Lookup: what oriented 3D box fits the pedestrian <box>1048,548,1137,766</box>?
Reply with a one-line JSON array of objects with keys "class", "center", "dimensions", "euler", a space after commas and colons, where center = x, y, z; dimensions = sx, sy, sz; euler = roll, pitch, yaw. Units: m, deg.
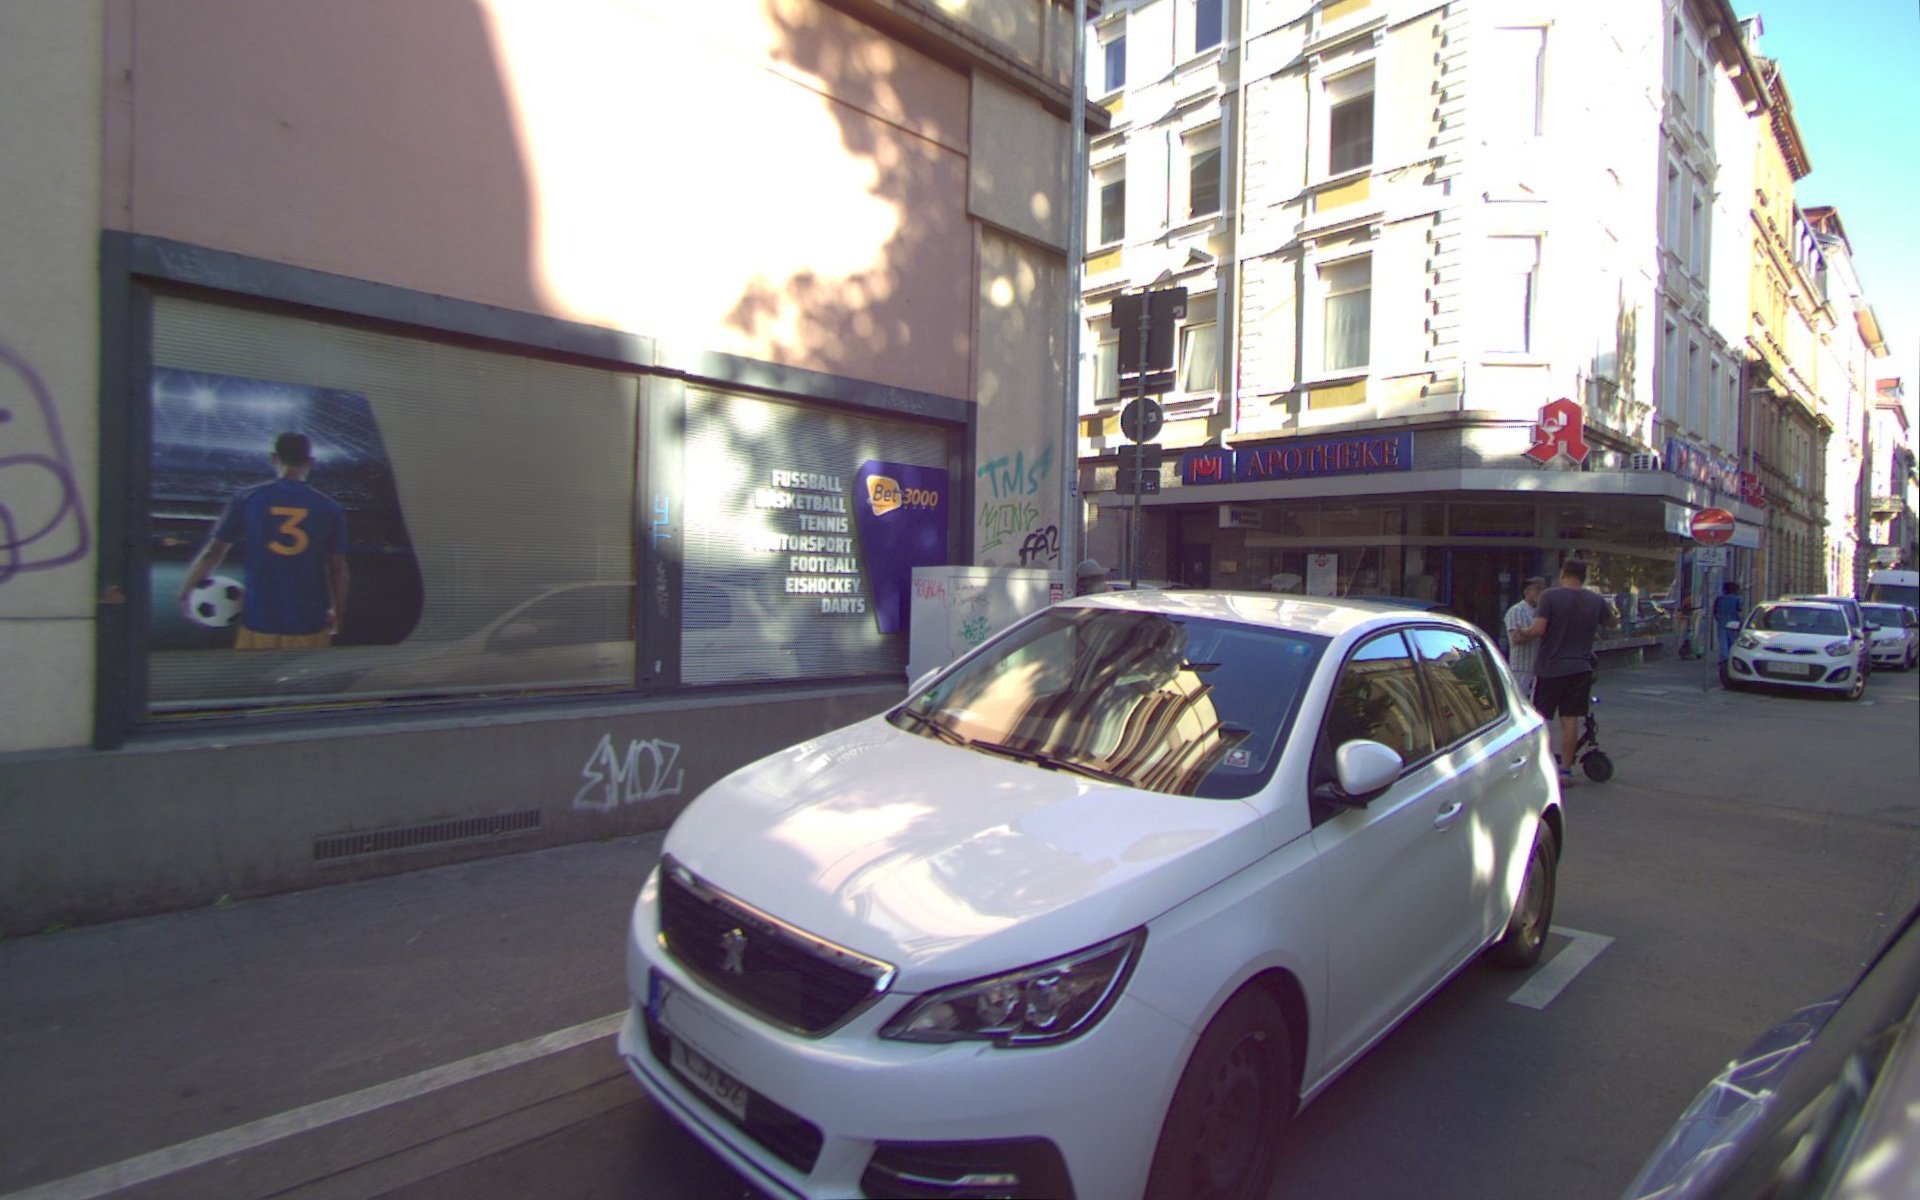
[{"class": "pedestrian", "center": [1.052, 0.443, 8.117], "dimensions": [0.455, 1.671, 0.602], "euler": [3, 0, -12]}]

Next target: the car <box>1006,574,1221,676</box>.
[{"class": "car", "center": [2.730, 0.362, 18.615], "dimensions": [1.603, 1.650, 3.739], "euler": [-2, 2, -43]}]

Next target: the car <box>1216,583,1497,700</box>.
[{"class": "car", "center": [5.932, 0.526, 15.407], "dimensions": [1.759, 1.504, 3.578], "euler": [-1, 2, -43]}]

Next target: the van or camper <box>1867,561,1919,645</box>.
[{"class": "van or camper", "center": [32.390, 0.055, 34.329], "dimensions": [5.880, 2.665, 1.995], "euler": [-1, 1, -44]}]

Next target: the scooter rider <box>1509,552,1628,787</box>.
[{"class": "scooter rider", "center": [4.830, 0.525, 8.058], "dimensions": [0.554, 1.800, 0.612], "euler": [0, 0, -4]}]

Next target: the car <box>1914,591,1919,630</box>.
[{"class": "car", "center": [42.745, 0.458, 43.949], "dimensions": [3.897, 1.645, 1.693], "euler": [0, 1, -44]}]

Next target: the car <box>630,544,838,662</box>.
[{"class": "car", "center": [-4.126, 0.028, 18.087], "dimensions": [1.836, 1.864, 3.930], "euler": [3, -1, -43]}]

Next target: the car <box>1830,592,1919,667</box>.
[{"class": "car", "center": [21.231, 0.606, 23.205], "dimensions": [4.131, 1.545, 1.556], "euler": [-1, 1, -44]}]

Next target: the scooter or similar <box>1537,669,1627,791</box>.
[{"class": "scooter or similar", "center": [5.001, 1.016, 8.123], "dimensions": [0.910, 0.839, 0.394], "euler": [-1, 1, -43]}]

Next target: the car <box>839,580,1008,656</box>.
[{"class": "car", "center": [-0.896, 0.321, 22.449], "dimensions": [1.533, 1.473, 3.982], "euler": [-1, 2, -43]}]

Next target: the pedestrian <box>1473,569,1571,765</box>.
[{"class": "pedestrian", "center": [4.880, 0.563, 8.816], "dimensions": [0.554, 1.659, 0.528], "euler": [0, 0, 1]}]

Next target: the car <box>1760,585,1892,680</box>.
[{"class": "car", "center": [17.250, 0.553, 20.092], "dimensions": [1.700, 1.671, 3.998], "euler": [0, 1, 45]}]

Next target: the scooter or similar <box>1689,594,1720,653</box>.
[{"class": "scooter or similar", "center": [16.837, 0.524, 22.872], "dimensions": [1.020, 1.296, 0.395], "euler": [-1, 1, -44]}]

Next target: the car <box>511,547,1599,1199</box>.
[{"class": "car", "center": [0.797, 0.651, 3.655], "dimensions": [1.787, 1.535, 4.071], "euler": [0, 1, 44]}]

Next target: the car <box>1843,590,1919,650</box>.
[{"class": "car", "center": [28.131, 0.546, 30.439], "dimensions": [4.488, 1.667, 1.995], "euler": [-1, 1, -44]}]

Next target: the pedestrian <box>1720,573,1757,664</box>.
[{"class": "pedestrian", "center": [16.768, 0.384, 21.790], "dimensions": [0.521, 1.917, 0.562], "euler": [0, 0, -44]}]

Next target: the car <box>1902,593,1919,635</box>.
[{"class": "car", "center": [38.844, 0.546, 40.331], "dimensions": [3.749, 1.645, 1.693], "euler": [0, 1, -44]}]

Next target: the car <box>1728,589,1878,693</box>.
[{"class": "car", "center": [13.934, 0.578, 16.660], "dimensions": [1.689, 1.481, 3.584], "euler": [0, 1, 43]}]
